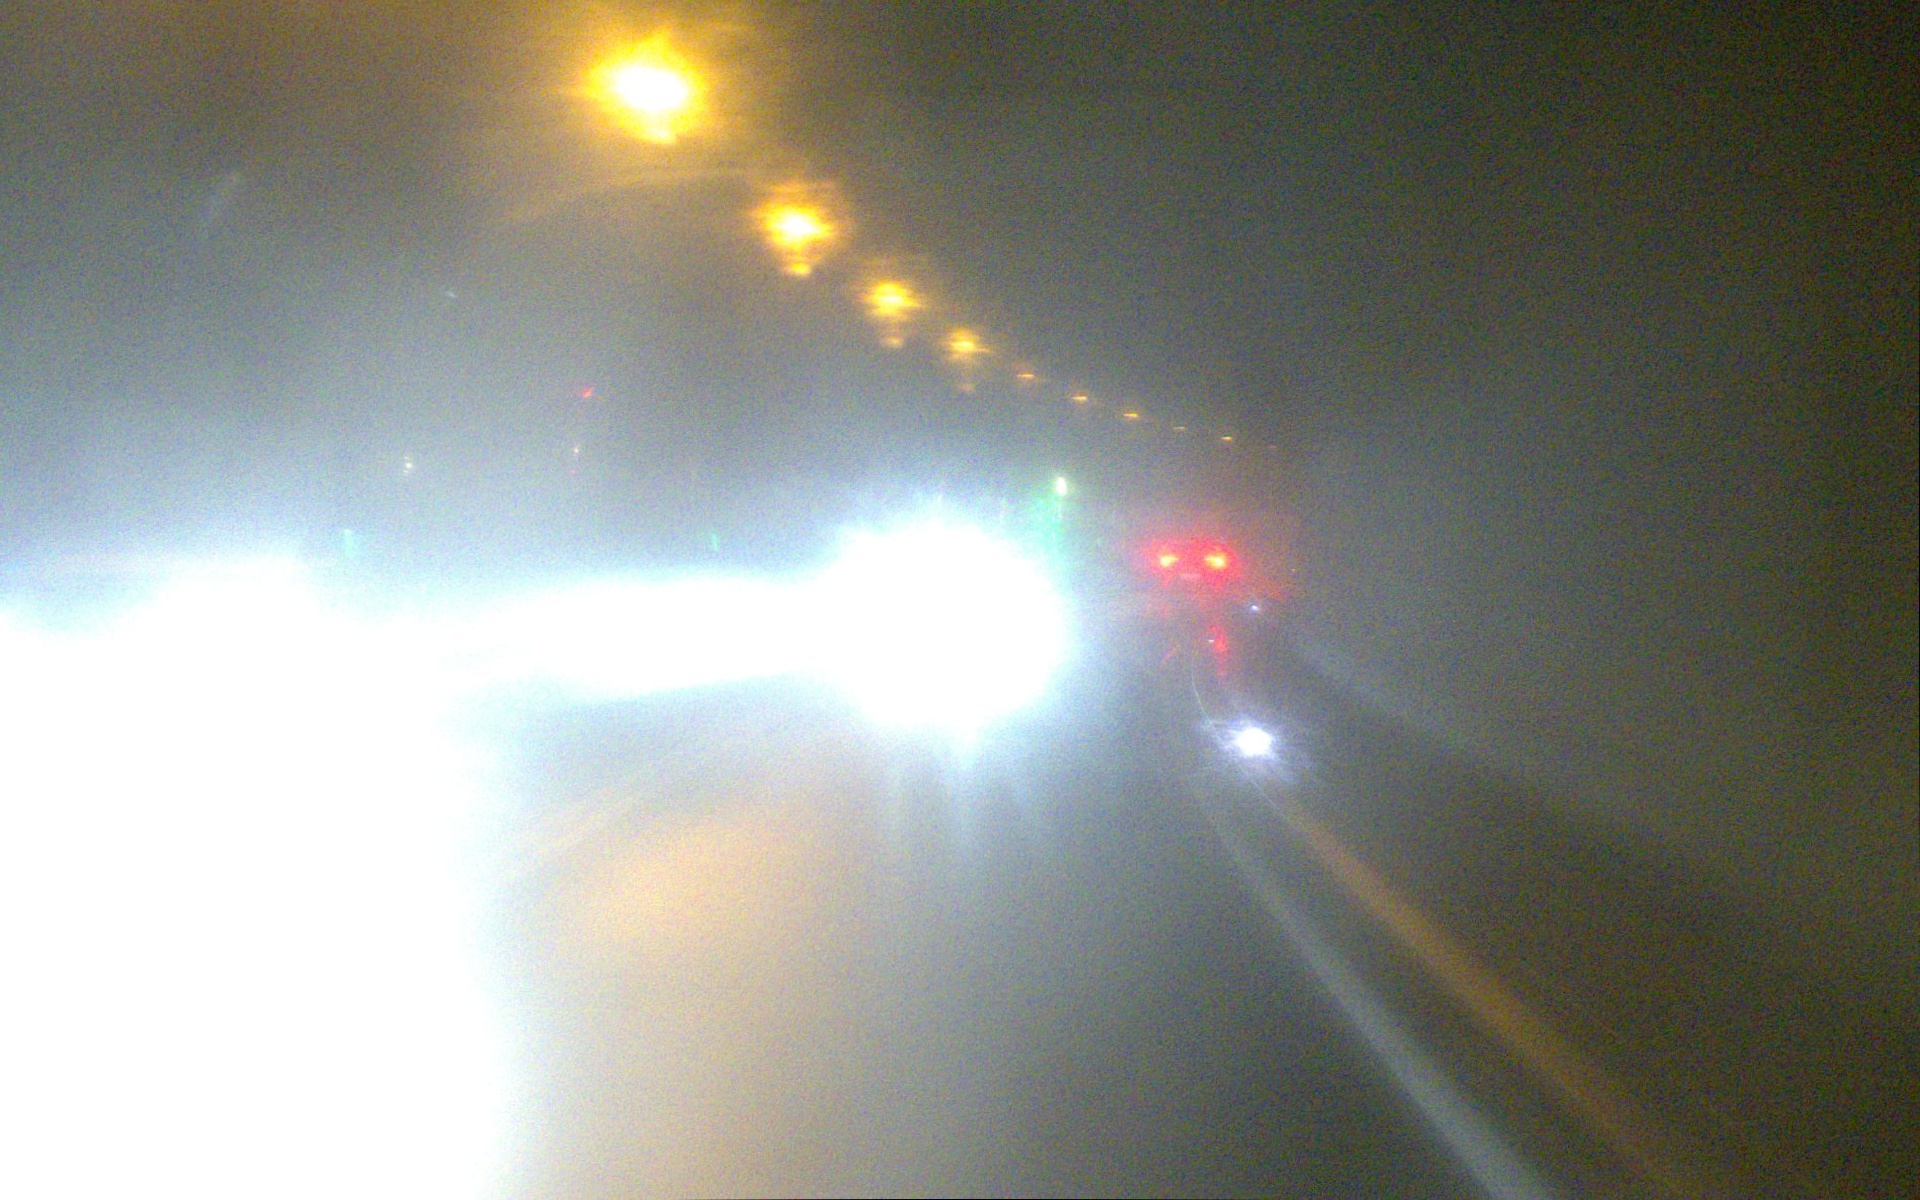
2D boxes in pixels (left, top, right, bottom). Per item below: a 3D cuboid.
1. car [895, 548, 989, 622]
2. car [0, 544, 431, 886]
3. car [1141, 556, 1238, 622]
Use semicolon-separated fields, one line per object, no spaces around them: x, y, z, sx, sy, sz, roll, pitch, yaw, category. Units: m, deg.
-0.324;-0.318;67.141;1.630;1.392;4.000;0;1;2;car
-3.644;0.460;16.675;1.626;1.442;3.937;1;1;-1;car
5.990;-0.296;89.397;1.994;1.645;3.998;1;1;11;car
